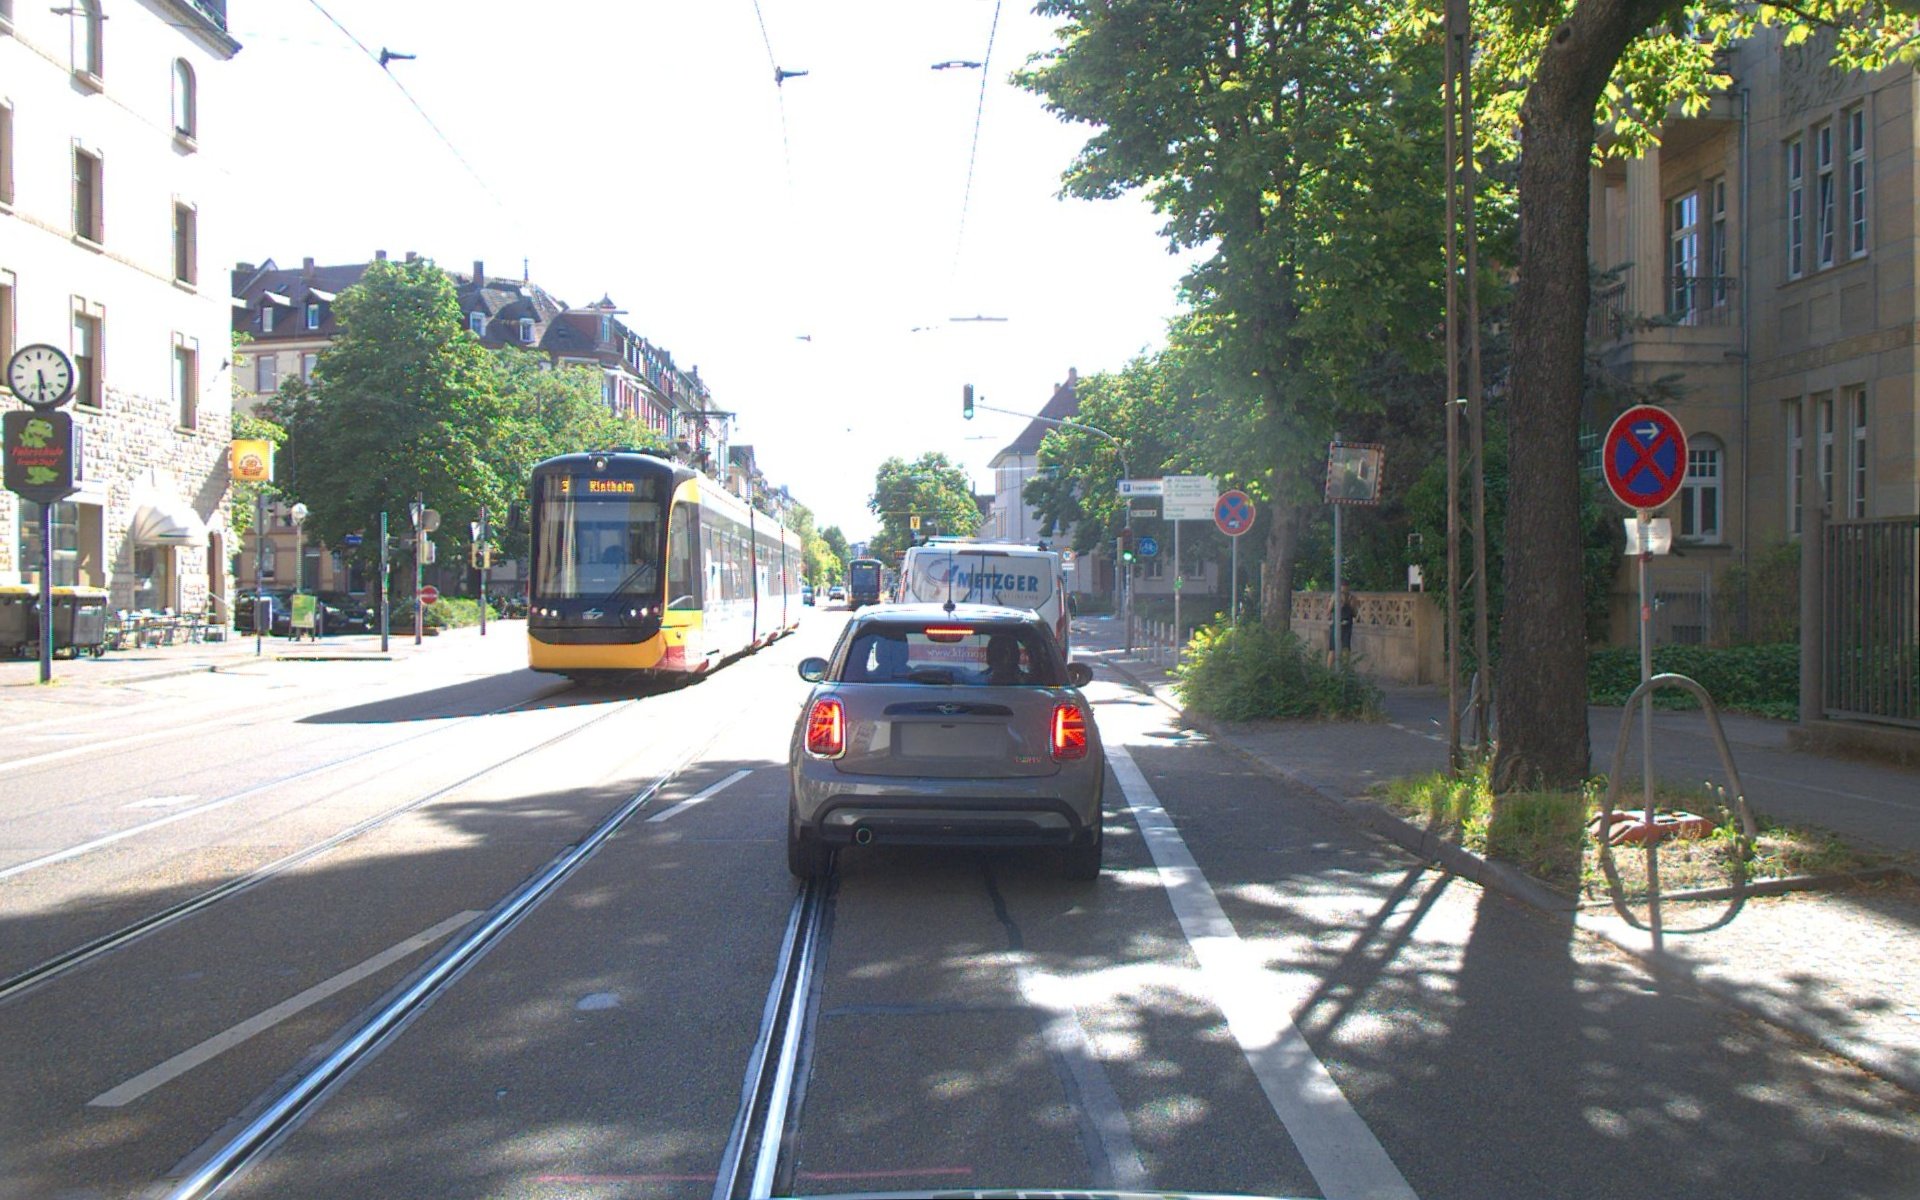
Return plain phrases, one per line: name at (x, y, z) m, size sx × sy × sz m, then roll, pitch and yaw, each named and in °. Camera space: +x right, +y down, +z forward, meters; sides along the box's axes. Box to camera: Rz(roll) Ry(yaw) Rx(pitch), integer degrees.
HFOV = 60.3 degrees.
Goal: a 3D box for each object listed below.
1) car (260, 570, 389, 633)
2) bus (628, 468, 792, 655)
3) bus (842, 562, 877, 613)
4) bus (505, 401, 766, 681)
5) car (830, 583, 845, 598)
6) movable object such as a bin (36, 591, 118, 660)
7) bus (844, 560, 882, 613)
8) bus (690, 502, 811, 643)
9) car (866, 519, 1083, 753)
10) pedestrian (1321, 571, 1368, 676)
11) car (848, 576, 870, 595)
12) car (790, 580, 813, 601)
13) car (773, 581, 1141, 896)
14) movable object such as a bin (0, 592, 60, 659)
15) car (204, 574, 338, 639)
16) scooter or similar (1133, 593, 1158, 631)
car at (-21.626, 0.056, 56.280) m, size 3.910 × 2.049 × 1.997 m, roll 1°, pitch 0°, yaw 28°
bus at (-5.755, -0.783, 39.975) m, size 2.803 × 3.843 × 11.176 m, roll 1°, pitch 0°, yaw -3°
bus at (-7.456, -0.881, 122.268) m, size 2.339 × 3.557 × 7.376 m, roll 1°, pitch 0°, yaw -5°
bus at (-5.177, -0.799, 28.731) m, size 2.803 × 3.843 × 11.490 m, roll 1°, pitch 0°, yaw -3°
car at (-14.376, -1.106, 193.805) m, size 1.741 × 1.646 × 3.996 m, roll 1°, pitch 0°, yaw -4°
movable object such as a bin at (-17.090, 0.485, 32.046) m, size 0.925 × 1.296 × 1.144 m, roll 1°, pitch 0°, yaw 3°
bus at (-6.778, -0.890, 114.883) m, size 2.339 × 3.557 × 7.376 m, roll 1°, pitch 0°, yaw -5°
bus at (-6.302, -0.730, 51.538) m, size 2.793 × 3.843 × 12.189 m, roll 1°, pitch 0°, yaw -3°
car at (0.106, 0.359, 18.580) m, size 2.075 × 2.247 × 4.943 m, roll 1°, pitch 0°, yaw -1°
pedestrian at (6.384, 0.390, 27.499) m, size 0.580 × 1.700 × 0.646 m, roll -2°, pitch 0°, yaw -1°
car at (-9.047, -1.301, 147.917) m, size 1.827 × 1.591 × 3.996 m, roll 1°, pitch 0°, yaw -4°
car at (-12.934, -0.781, 134.753) m, size 1.741 × 1.646 × 3.996 m, roll 1°, pitch 0°, yaw -4°
car at (-0.041, 0.687, 10.091) m, size 1.778 × 1.514 × 3.999 m, roll 1°, pitch 0°, yaw -1°
movable object such as a bin at (-17.992, 0.484, 31.639) m, size 0.815 × 1.244 × 1.244 m, roll 1°, pitch 0°, yaw 1°
car at (-22.574, 0.207, 54.189) m, size 3.910 × 2.049 × 1.997 m, roll 1°, pitch 0°, yaw 28°
scooter or similar at (6.606, 0.424, 58.912) m, size 0.662 × 1.333 × 1.328 m, roll 1°, pitch 0°, yaw -2°
